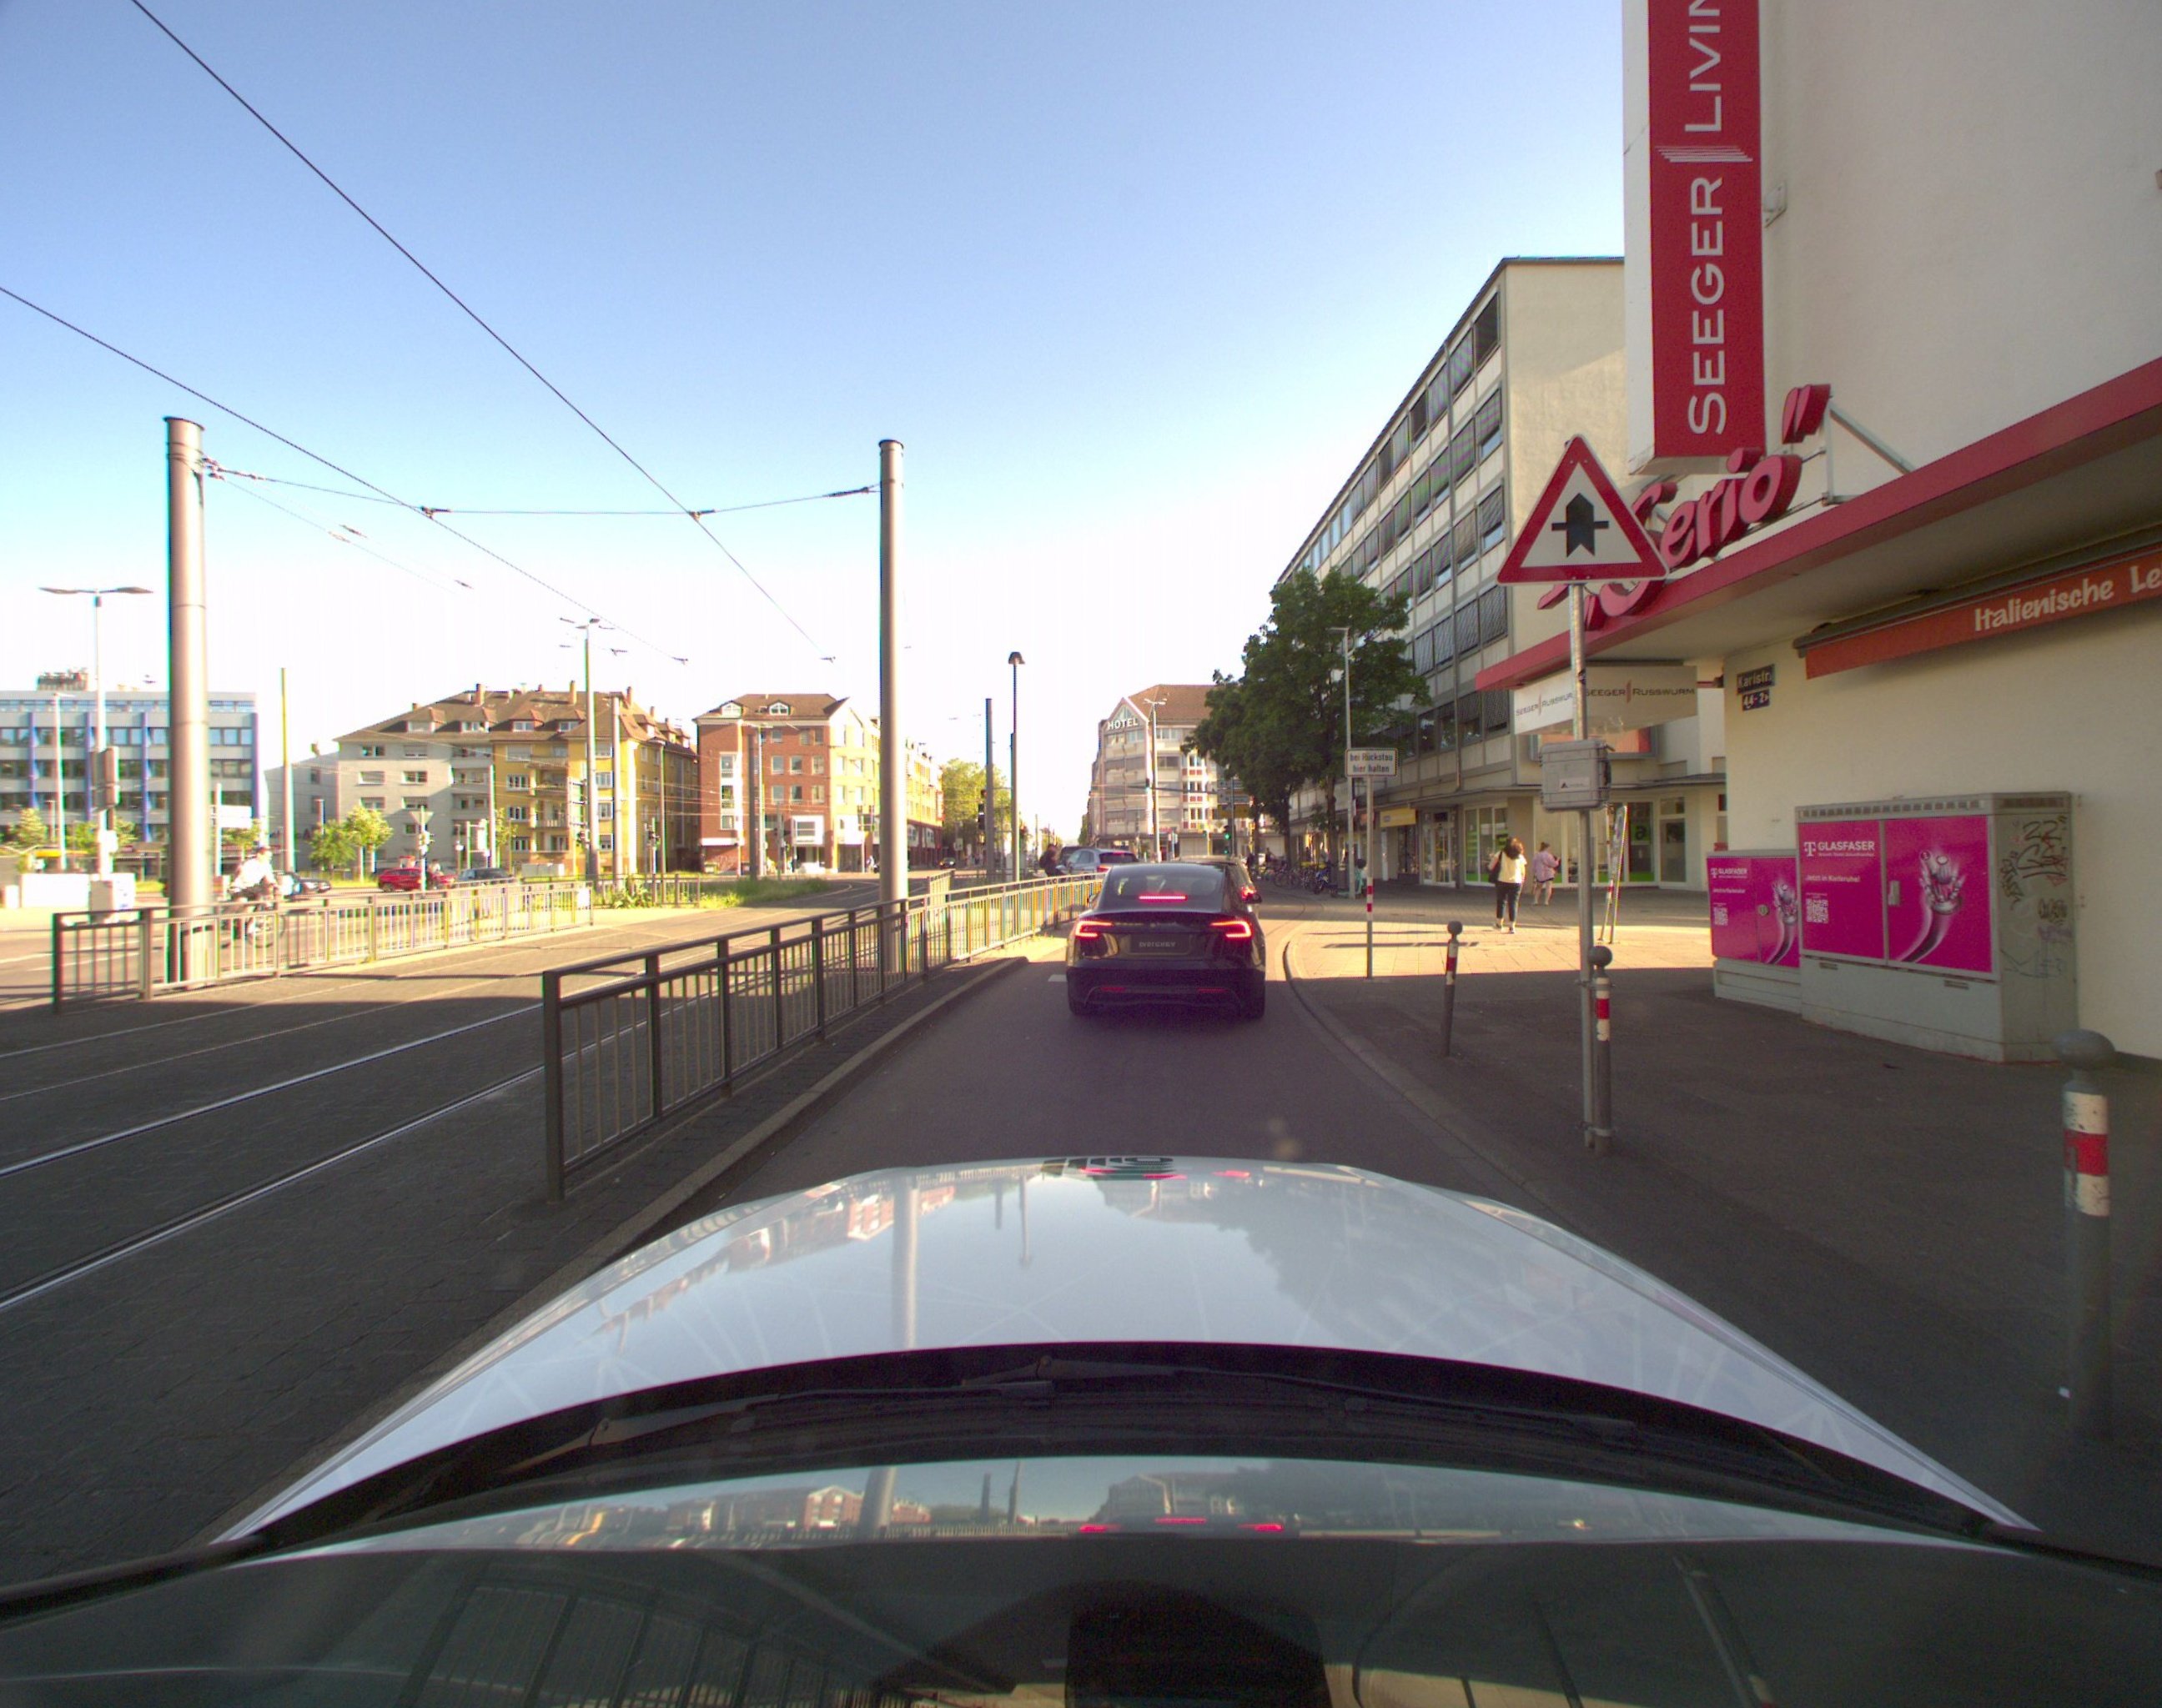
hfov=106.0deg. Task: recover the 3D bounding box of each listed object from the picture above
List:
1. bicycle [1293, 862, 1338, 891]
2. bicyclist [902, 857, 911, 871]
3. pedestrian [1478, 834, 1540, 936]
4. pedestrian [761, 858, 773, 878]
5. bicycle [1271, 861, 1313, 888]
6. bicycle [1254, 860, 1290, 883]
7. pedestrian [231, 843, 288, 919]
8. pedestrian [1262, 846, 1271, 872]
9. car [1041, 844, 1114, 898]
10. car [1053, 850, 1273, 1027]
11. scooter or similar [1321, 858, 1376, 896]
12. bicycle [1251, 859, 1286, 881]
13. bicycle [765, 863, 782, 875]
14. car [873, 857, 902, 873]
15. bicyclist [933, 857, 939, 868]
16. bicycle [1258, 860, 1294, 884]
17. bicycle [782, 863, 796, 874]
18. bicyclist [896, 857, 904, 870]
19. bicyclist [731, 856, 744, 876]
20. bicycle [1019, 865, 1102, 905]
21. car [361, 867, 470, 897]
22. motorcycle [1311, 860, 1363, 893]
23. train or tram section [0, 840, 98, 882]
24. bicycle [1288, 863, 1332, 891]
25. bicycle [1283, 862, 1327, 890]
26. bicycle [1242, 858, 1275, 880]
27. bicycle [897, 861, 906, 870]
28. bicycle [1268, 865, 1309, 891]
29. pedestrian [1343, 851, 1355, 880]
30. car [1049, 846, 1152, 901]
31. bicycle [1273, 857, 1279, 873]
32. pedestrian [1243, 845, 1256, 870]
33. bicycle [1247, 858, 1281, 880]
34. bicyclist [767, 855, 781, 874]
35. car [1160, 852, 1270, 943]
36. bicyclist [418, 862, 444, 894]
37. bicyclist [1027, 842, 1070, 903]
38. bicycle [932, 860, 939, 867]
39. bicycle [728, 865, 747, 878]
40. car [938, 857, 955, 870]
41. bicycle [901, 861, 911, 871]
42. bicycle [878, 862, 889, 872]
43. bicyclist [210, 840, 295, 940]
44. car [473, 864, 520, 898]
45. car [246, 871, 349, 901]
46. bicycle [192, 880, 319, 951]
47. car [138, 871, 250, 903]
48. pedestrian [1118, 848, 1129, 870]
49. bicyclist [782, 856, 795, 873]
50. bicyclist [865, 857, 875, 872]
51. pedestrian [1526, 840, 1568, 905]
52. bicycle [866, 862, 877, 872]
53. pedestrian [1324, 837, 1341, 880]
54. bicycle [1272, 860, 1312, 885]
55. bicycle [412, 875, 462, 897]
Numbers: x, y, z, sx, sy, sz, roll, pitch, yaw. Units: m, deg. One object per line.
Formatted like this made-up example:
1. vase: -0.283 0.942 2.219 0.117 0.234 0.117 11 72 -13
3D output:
1. bicycle: 8.897 0.856 30.933 1.649 1.099 0.349 0 -1 -9
2. bicyclist: -19.738 1.113 92.177 0.781 1.527 0.590 0 -1 6
3. pedestrian: 7.719 0.539 14.731 0.906 1.752 1.044 -1 0 25
4. pedestrian: -28.989 1.294 75.261 0.780 1.820 0.747 0 -1 3
5. bicycle: 8.619 0.844 33.315 1.649 1.099 0.349 0 -1 -9
6. bicycle: 9.207 0.837 39.233 1.643 1.099 0.350 0 -1 3
7. pedestrian: -18.652 0.597 18.496 0.585 1.681 0.779 -1 -1 32
8. pedestrian: 12.238 0.350 53.727 0.522 1.710 0.405 -1 -1 12
9. car: -0.234 0.662 32.840 1.997 2.014 3.980 -1 0 -15
10. car: 0.911 0.716 8.786 1.820 1.455 4.007 0 -1 7
11. scooter or similar: 8.900 0.761 27.094 1.625 1.215 0.649 -1 -1 32
12. bicycle: 9.283 0.794 40.246 1.643 1.099 0.350 0 -1 3
13. bicycle: -25.845 1.290 68.556 0.522 0.972 2.247 0 -1 2
14. car: -19.452 1.087 82.095 1.702 1.527 4.041 0 -1 4
15. bicyclist: -22.292 1.285 124.994 0.780 1.563 0.747 0 -1 3
16. bicycle: 9.143 0.833 38.207 1.643 1.099 0.350 0 -1 3
17. bicycle: -26.864 1.353 74.943 0.402 0.981 1.699 -1 -1 10
18. bicyclist: -21.968 1.107 98.740 0.780 1.563 0.747 -1 0 3
19. bicyclist: -26.027 0.913 61.683 0.631 1.503 0.696 0 -1 1
20. bicycle: -0.550 0.828 22.554 2.346 1.053 0.624 0 -1 -36
21. car: -39.452 1.650 48.372 4.585 1.700 1.993 0 -1 -10
22. motorcycle: 9.146 0.797 29.163 1.701 1.173 0.541 0 -1 0
23. train or tram section: -81.961 0.555 61.118 11.230 3.131 2.795 0 -1 -10
24. bicycle: 8.819 0.878 31.357 1.649 1.061 0.349 0 -1 -9
25. bicycle: 8.733 0.856 31.783 1.649 1.099 0.349 0 -1 -9
26. bicycle: 9.247 0.787 42.388 1.643 1.099 0.350 0 -1 3
27. bicycle: -21.904 1.365 99.469 0.527 1.088 2.227 -1 0 3
28. bicycle: 8.725 1.011 34.294 1.649 1.099 0.349 0 -1 -9
29. pedestrian: 12.559 0.538 38.172 0.388 1.343 0.513 0 -1 4
30. car: 0.537 0.600 26.640 1.891 1.662 4.126 0 -1 -23
31. bicycle: 12.725 0.698 53.272 0.330 1.034 1.260 -1 -1 11
32. pedestrian: 11.110 0.229 53.625 0.697 1.662 0.777 0 -1 1
33. bicycle: 9.266 0.757 41.293 1.643 1.099 0.350 -1 0 3
34. bicyclist: -25.849 0.882 68.555 0.895 1.503 0.696 0 -1 1
35. car: 2.440 0.691 15.086 1.741 1.454 4.009 -1 0 8
36. bicyclist: -36.774 1.346 46.095 0.901 1.808 0.788 0 -1 -11
37. bicyclist: -0.886 0.494 22.274 0.763 1.628 0.967 0 -1 -37
38. bicycle: -22.326 1.444 124.983 0.527 1.088 2.227 0 -1 4
39. bicycle: -26.011 1.325 61.734 0.445 0.972 2.247 0 -1 2
40. car: -17.574 1.233 106.664 1.692 1.731 3.706 0 -1 0
41. bicycle: -19.746 1.329 92.034 0.456 1.093 2.205 0 -1 6
42. bicycle: -22.221 1.467 91.710 0.527 1.088 2.286 -1 0 4
43. bicyclist: -14.972 0.643 14.733 0.747 1.759 0.759 0 -1 3
44. car: -28.205 1.275 39.362 1.651 1.526 3.825 0 -1 -33
45. car: -45.490 1.834 47.377 3.984 1.672 1.772 0 -1 -8
46. bicycle: -14.830 1.099 14.646 1.841 1.222 0.486 0 -1 2
47. car: -50.620 1.874 46.559 3.952 1.685 1.903 0 -1 -11
48. pedestrian: 3.890 0.449 74.231 0.917 2.014 0.973 0 -1 1
49. bicyclist: -26.920 0.953 74.935 0.699 1.471 0.975 -1 0 9
50. bicyclist: -22.538 1.117 87.097 0.780 1.563 0.747 0 -1 3
51. pedestrian: 12.369 0.481 21.651 0.881 1.667 0.813 -1 -1 25
52. bicycle: -22.462 1.384 87.306 0.535 1.088 2.227 0 -1 4
53. pedestrian: 11.856 0.209 38.417 0.659 2.014 0.580 0 -1 4
54. bicycle: 9.120 0.802 35.253 1.643 1.099 0.350 0 -1 3
55. bicycle: -36.469 1.824 46.146 2.188 1.214 0.544 0 -1 -11
